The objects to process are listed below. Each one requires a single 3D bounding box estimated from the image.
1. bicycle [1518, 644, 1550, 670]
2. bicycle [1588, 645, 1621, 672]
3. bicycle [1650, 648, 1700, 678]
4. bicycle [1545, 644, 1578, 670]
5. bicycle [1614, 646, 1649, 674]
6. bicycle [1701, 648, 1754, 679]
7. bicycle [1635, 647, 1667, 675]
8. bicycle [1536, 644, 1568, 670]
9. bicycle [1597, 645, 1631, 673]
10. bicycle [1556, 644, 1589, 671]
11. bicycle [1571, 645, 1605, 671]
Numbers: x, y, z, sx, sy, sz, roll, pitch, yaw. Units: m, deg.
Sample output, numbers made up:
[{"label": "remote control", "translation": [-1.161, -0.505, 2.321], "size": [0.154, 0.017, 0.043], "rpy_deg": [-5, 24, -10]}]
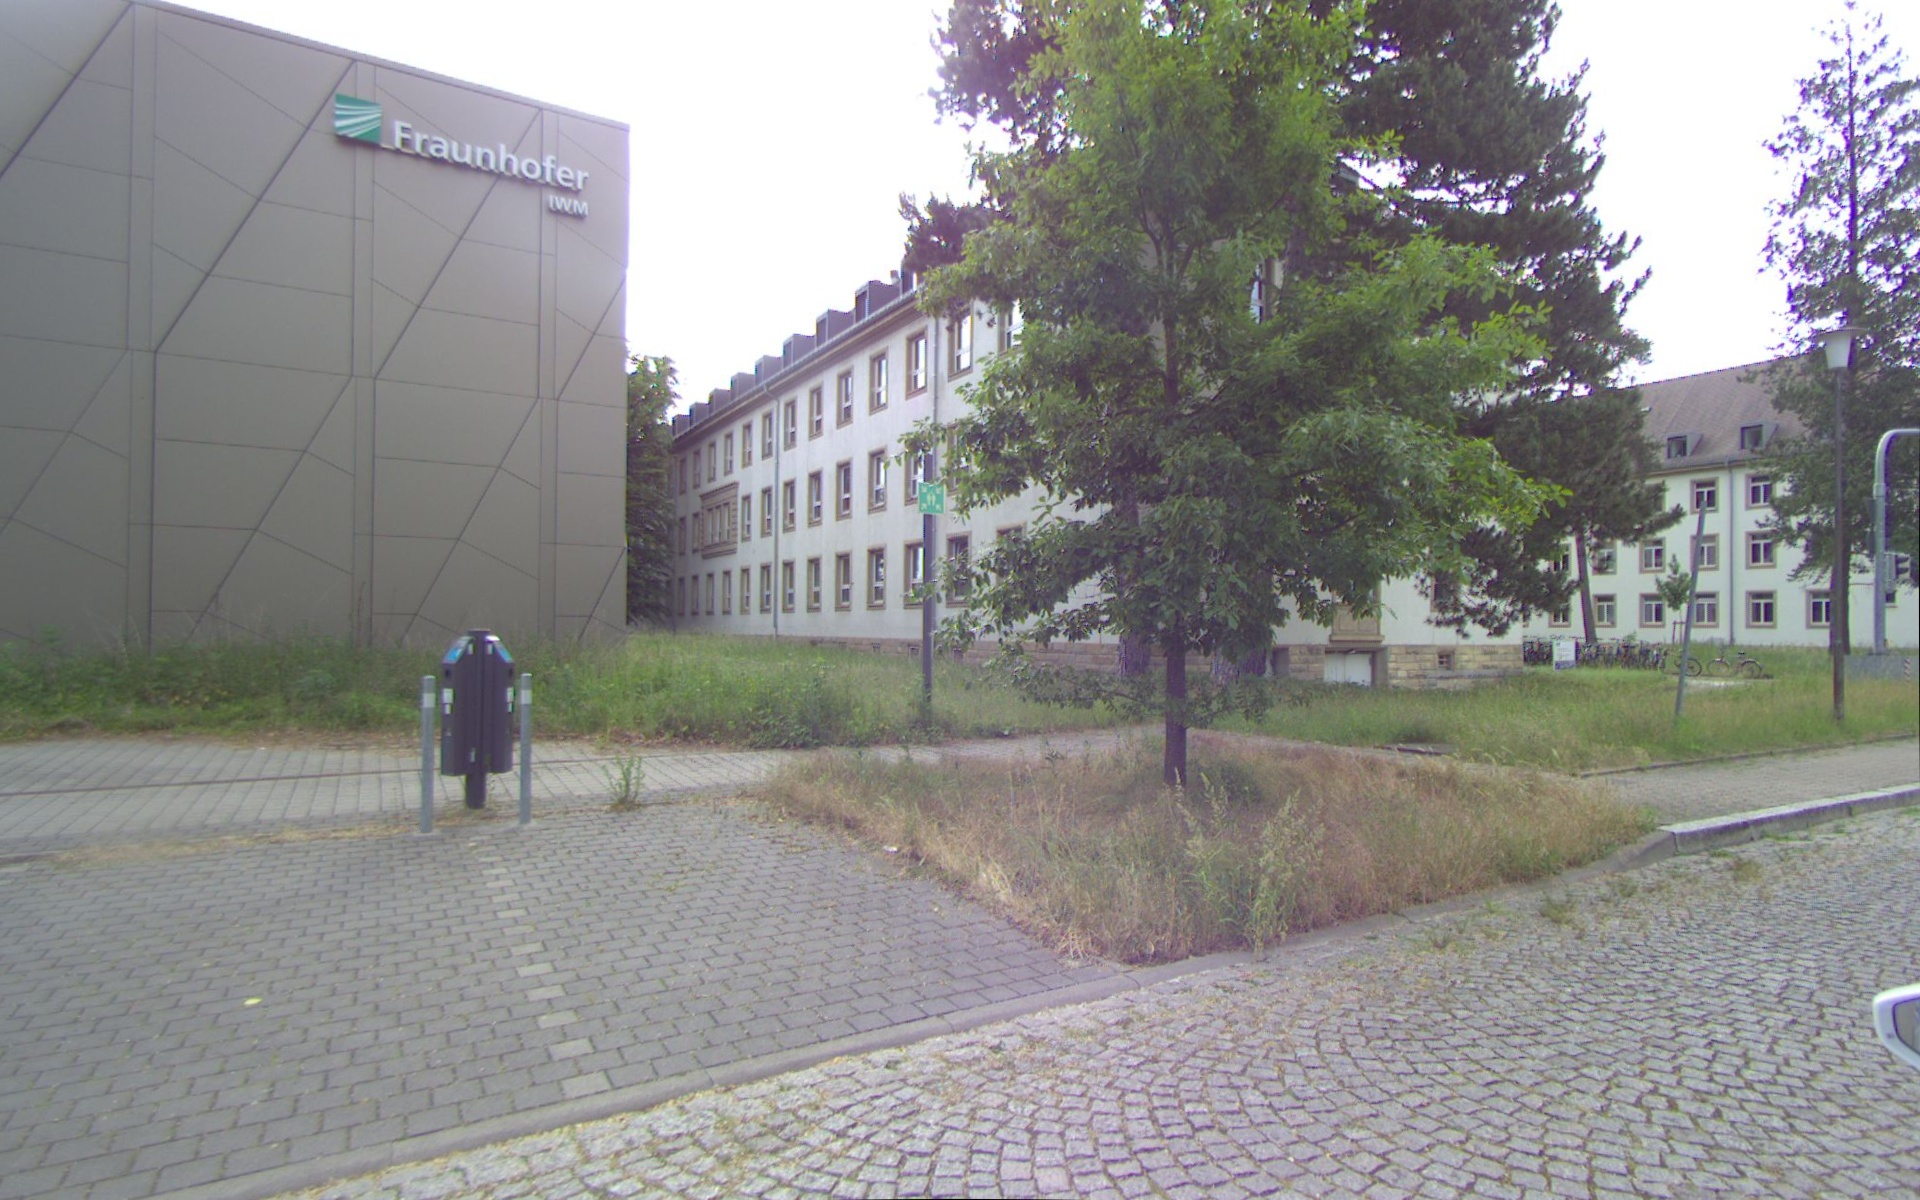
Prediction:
[{"label": "bicycle", "translation": [24.957, 2.464, 43.697], "size": [1.567, 1.093, 0.512], "rpy_deg": [2, -2, -31]}, {"label": "bicycle", "translation": [26.478, 2.398, 41.251], "size": [1.567, 1.093, 0.512], "rpy_deg": [2, -2, -31]}, {"label": "bicycle", "translation": [26.896, 2.345, 37.804], "size": [0.510, 1.093, 1.456], "rpy_deg": [2, -2, -32]}, {"label": "bicycle", "translation": [25.558, 2.423, 42.682], "size": [1.567, 1.093, 0.512], "rpy_deg": [2, -2, -31]}, {"label": "bicycle", "translation": [26.932, 2.402, 40.282], "size": [1.566, 1.093, 0.512], "rpy_deg": [2, -2, -28]}, {"label": "bicycle", "translation": [27.859, 2.283, 36.481], "size": [0.510, 1.079, 1.456], "rpy_deg": [2, -2, -32]}, {"label": "bicycle", "translation": [27.347, 2.408, 39.744], "size": [1.569, 1.093, 0.511], "rpy_deg": [2, -2, -34]}, {"label": "bicycle", "translation": [25.358, 2.451, 43.010], "size": [1.567, 1.093, 0.512], "rpy_deg": [2, -2, -31]}, {"label": "bicycle", "translation": [26.656, 2.400, 40.938], "size": [1.567, 1.093, 0.512], "rpy_deg": [2, -2, -31]}, {"label": "bicycle", "translation": [25.791, 2.423, 42.296], "size": [1.567, 1.093, 0.512], "rpy_deg": [2, -2, -31]}, {"label": "bicycle", "translation": [26.122, 2.405, 41.771], "size": [1.567, 1.093, 0.512], "rpy_deg": [2, -2, -31]}]
